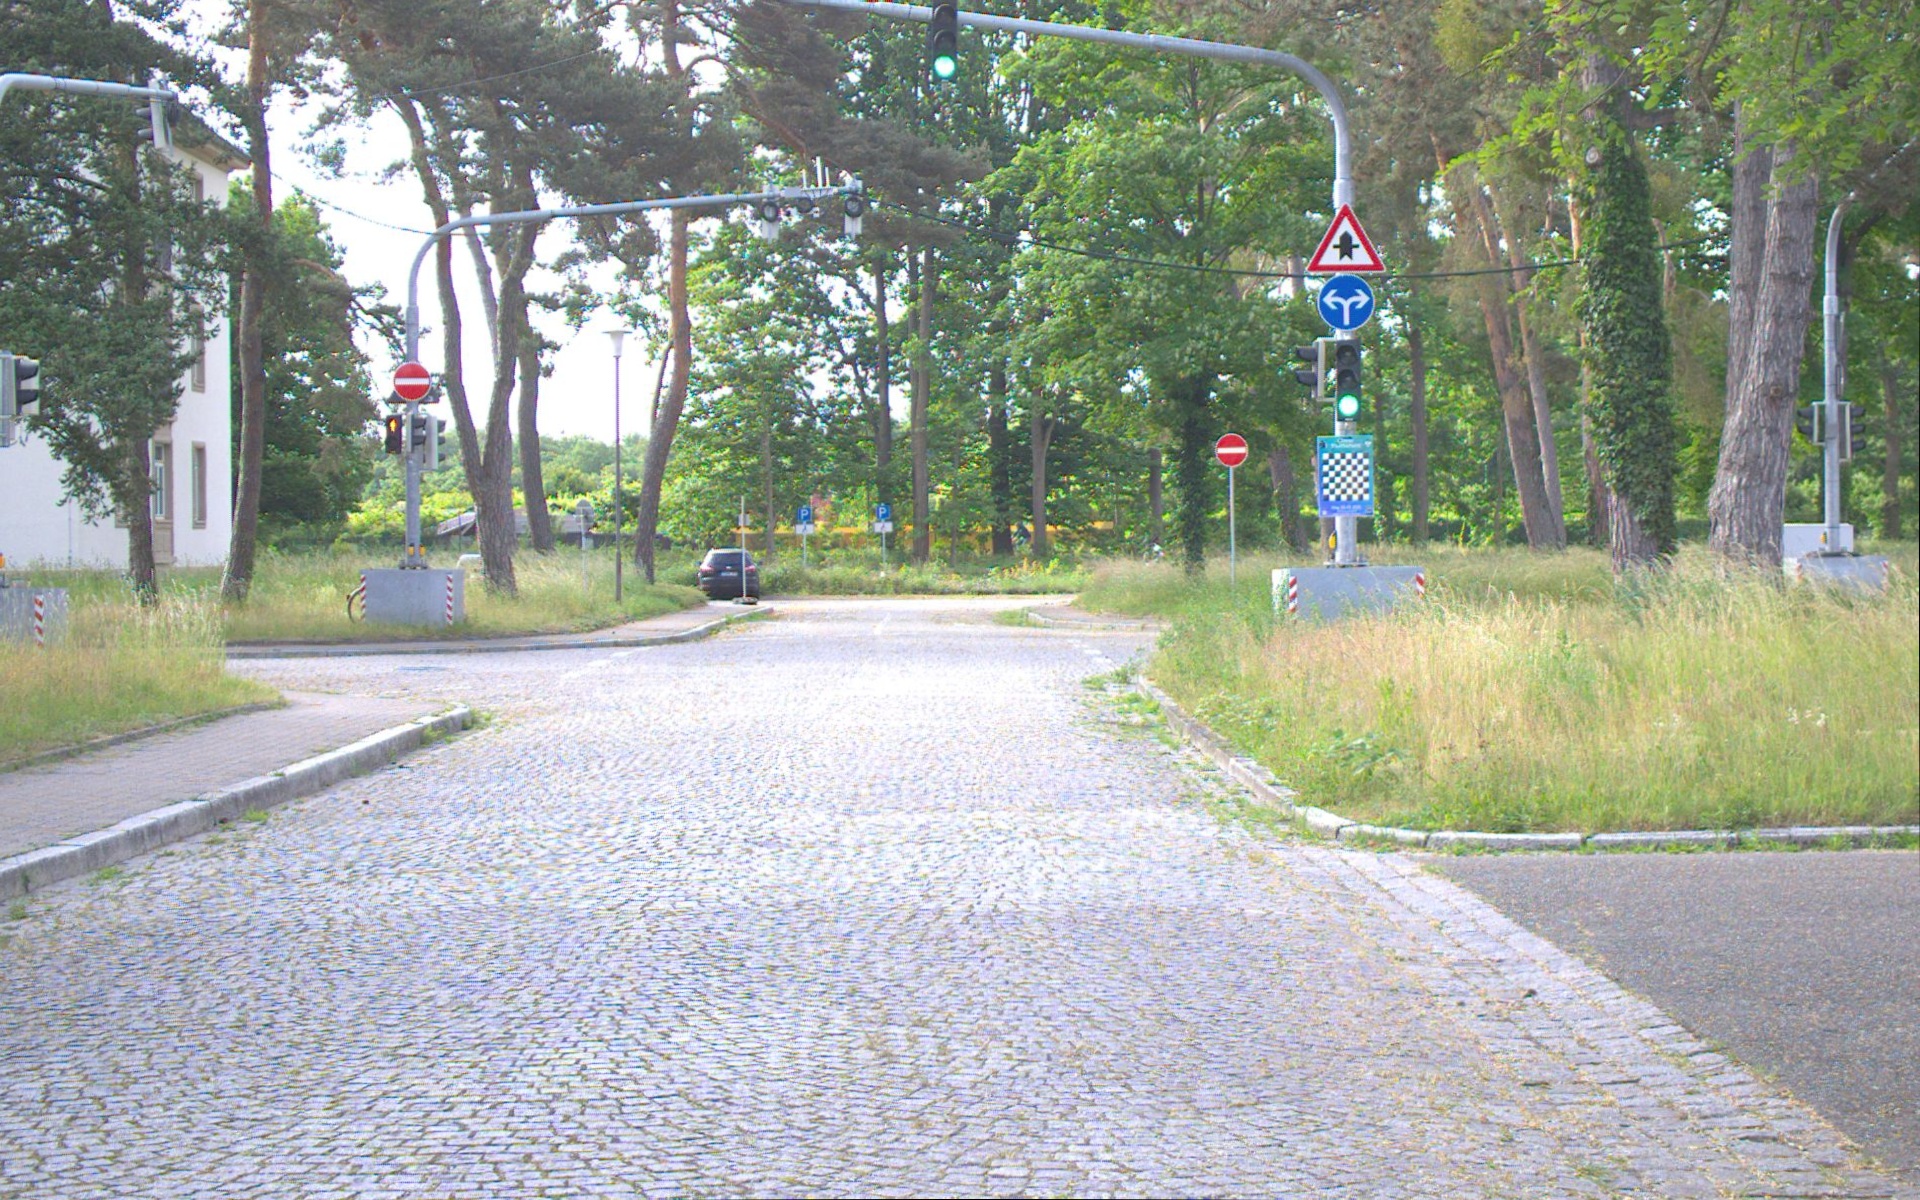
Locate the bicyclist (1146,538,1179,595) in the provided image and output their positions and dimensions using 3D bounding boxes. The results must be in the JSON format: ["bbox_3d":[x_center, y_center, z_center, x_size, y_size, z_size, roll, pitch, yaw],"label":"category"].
[{"bbox_3d":[5.904,-0.973,100.213,0.748,1.665,0.526,1,0,-23],"label":"bicyclist"}]

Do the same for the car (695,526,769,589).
[{"bbox_3d":[-6.896,-1.297,104.147,2.056,1.840,4.000,-1,1,-1],"label":"car"}]
